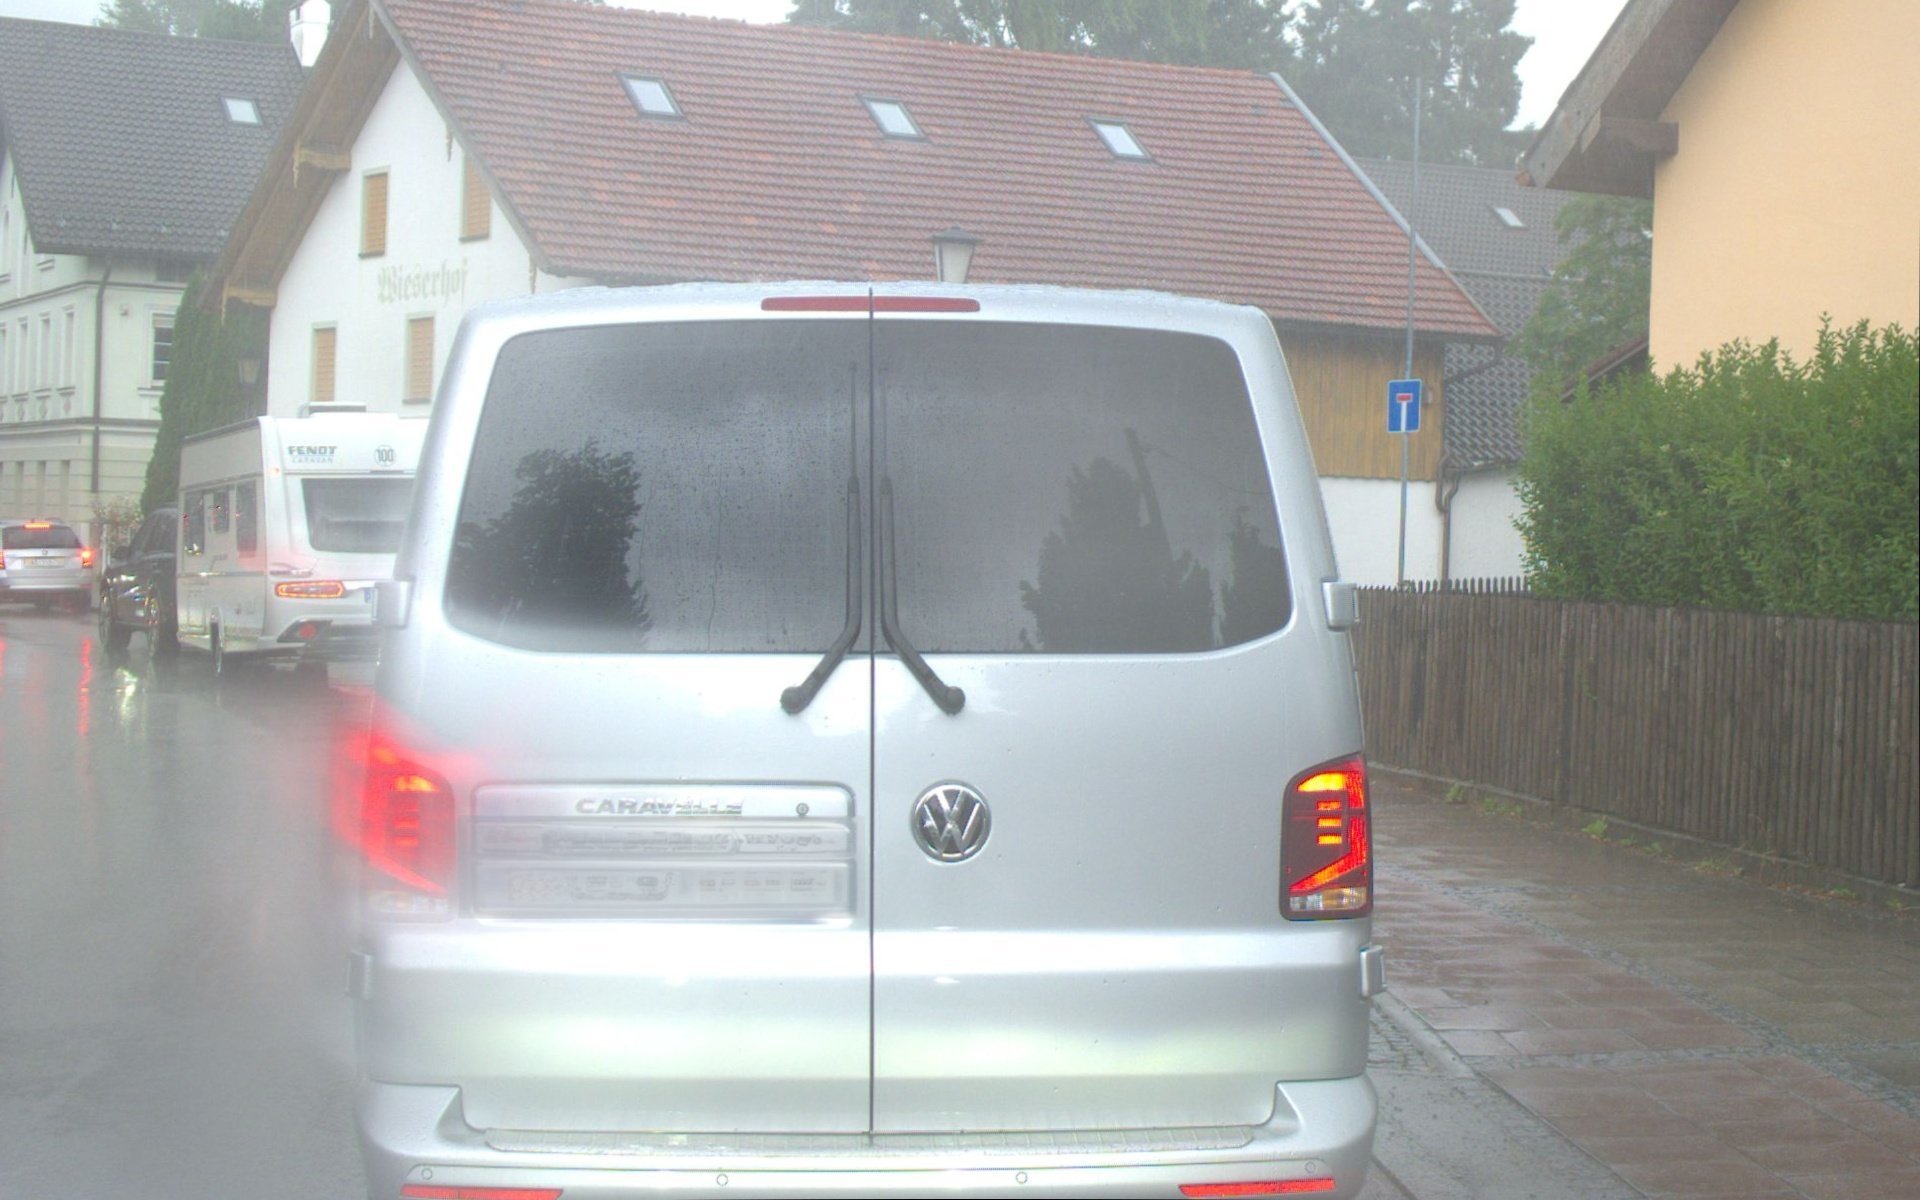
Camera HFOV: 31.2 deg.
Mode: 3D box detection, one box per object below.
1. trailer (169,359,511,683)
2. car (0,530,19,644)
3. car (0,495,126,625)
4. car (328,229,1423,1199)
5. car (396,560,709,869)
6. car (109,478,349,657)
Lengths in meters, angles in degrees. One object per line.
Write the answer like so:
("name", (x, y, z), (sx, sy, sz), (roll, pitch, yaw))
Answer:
("trailer", (-6.245, -0.759, 33.914), (2.270, 2.894, 6.134), (0, 1, -20))
("car", (-17.997, -0.334, 59.710), (2.168, 1.892, 5.015), (2, 1, -27))
("car", (-14.831, -0.645, 54.119), (2.168, 1.893, 5.015), (2, 0, -27))
("car", (-0.148, 0.337, 8.143), (1.776, 1.956, 5.074), (0, 1, 0))
("car", (-2.543, 0.608, 21.517), (1.708, 1.578, 4.687), (-1, 2, -7))
("car", (-8.401, -0.390, 39.161), (2.053, 1.892, 5.177), (0, 1, -19))
